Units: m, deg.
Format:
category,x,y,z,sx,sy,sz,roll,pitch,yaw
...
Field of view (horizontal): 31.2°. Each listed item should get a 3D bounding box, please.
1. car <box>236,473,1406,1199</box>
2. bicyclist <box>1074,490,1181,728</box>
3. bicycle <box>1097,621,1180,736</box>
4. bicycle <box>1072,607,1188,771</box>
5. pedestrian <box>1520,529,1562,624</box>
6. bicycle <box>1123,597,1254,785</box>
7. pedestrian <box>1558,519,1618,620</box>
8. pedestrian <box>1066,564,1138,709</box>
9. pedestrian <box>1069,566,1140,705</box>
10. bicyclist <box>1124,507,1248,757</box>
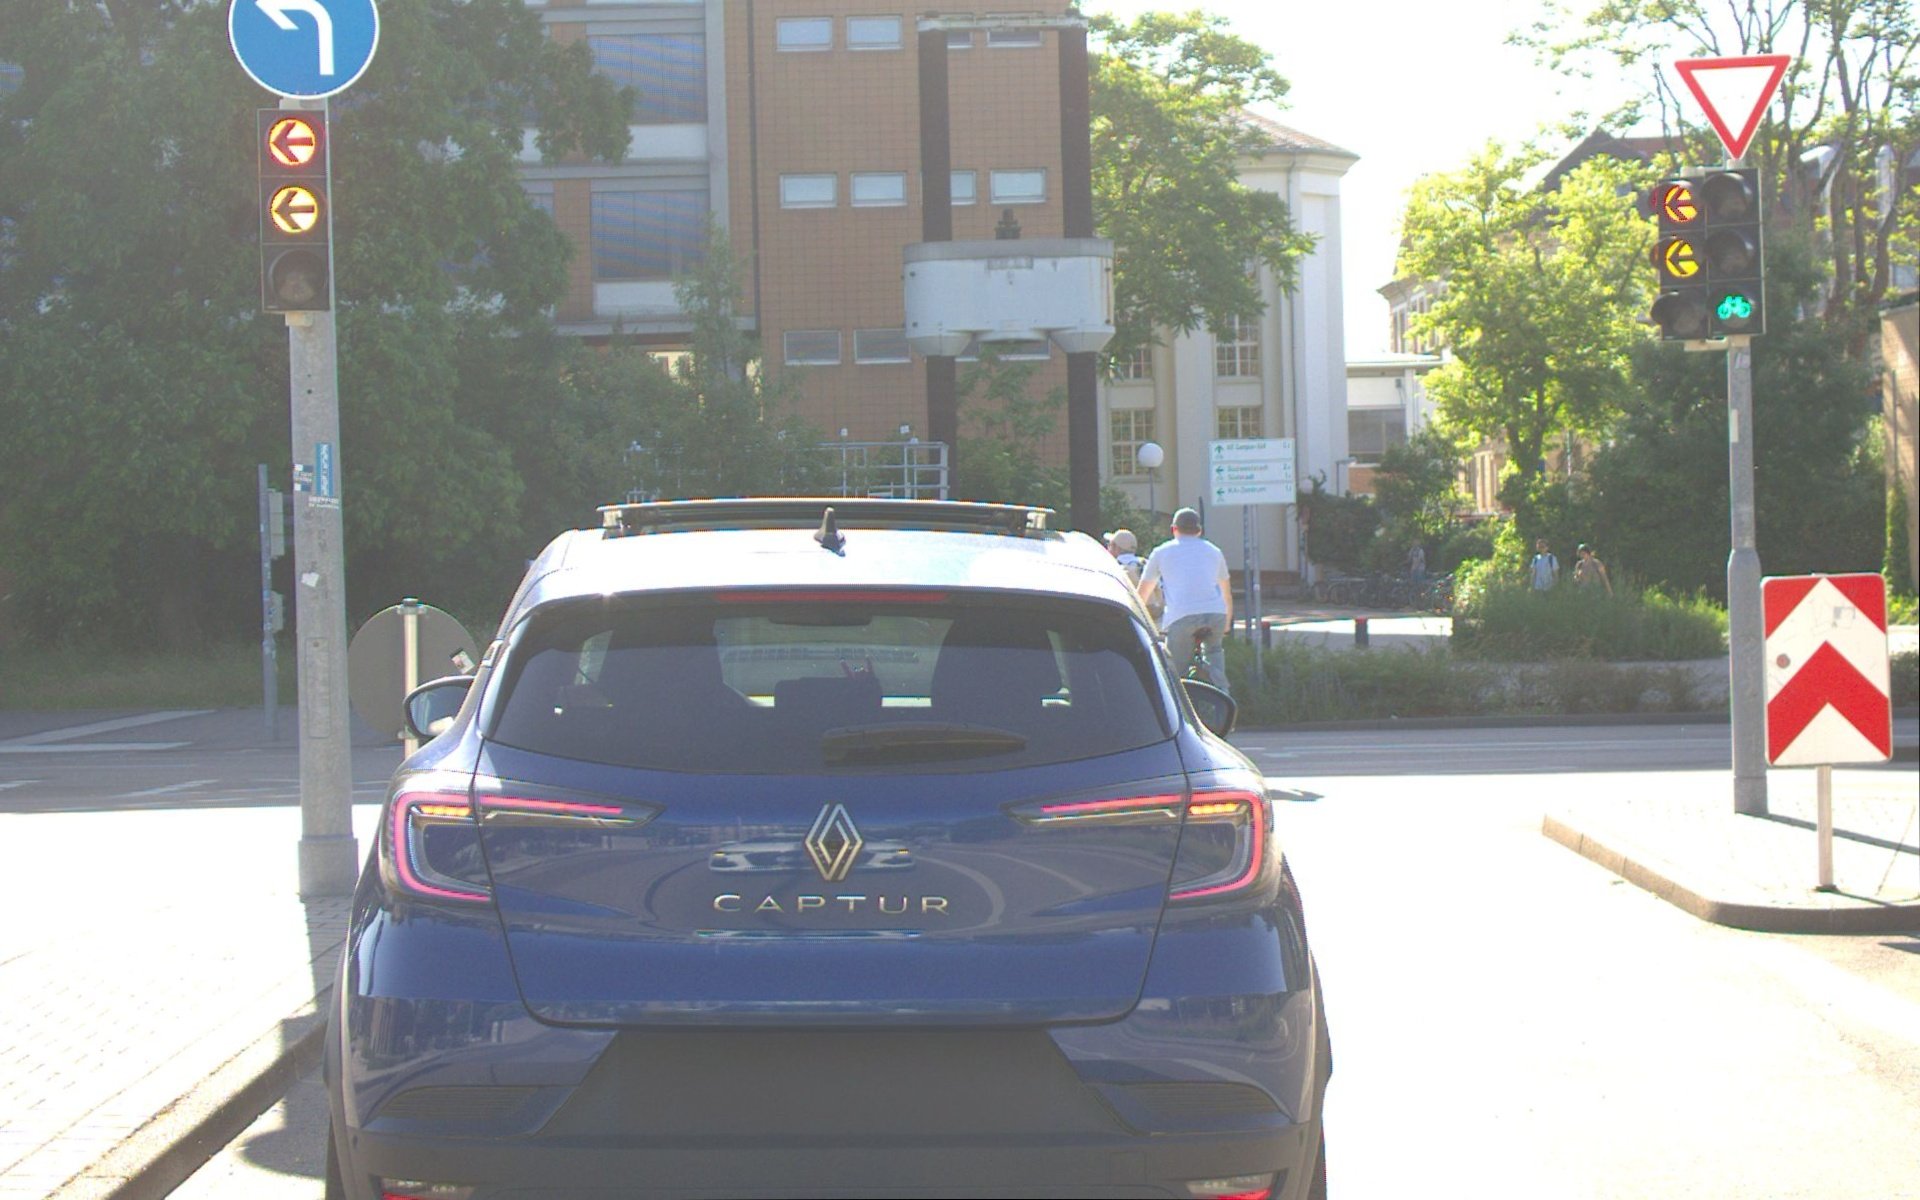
category,x,y,z,sx,sy,sz,roll,pitch,yaw
car,-0.250,0.592,7.473,1.876,1.612,3.798,1,1,-1
bicyclist,1.264,0.062,26.077,0.719,1.756,0.978,-1,1,-1
bicycle,1.915,0.830,37.089,0.746,1.161,1.870,-1,1,-1
bicycle,1.273,0.653,26.096,0.746,1.161,1.870,-1,1,-1
pedestrian,10.129,-0.405,59.922,0.676,1.637,0.735,0,0,14
bicycle,1.501,0.580,22.818,0.716,1.161,1.870,-1,1,0
pedestrian,10.310,-0.496,56.444,0.677,1.637,0.734,1,1,39
pedestrian,1.800,0.453,43.542,0.734,1.810,0.731,1,0,17
pedestrian,1.873,0.456,44.523,0.734,1.776,0.731,1,0,17
bicyclist,1.492,0.203,22.832,0.719,1.611,0.978,-1,1,-1
